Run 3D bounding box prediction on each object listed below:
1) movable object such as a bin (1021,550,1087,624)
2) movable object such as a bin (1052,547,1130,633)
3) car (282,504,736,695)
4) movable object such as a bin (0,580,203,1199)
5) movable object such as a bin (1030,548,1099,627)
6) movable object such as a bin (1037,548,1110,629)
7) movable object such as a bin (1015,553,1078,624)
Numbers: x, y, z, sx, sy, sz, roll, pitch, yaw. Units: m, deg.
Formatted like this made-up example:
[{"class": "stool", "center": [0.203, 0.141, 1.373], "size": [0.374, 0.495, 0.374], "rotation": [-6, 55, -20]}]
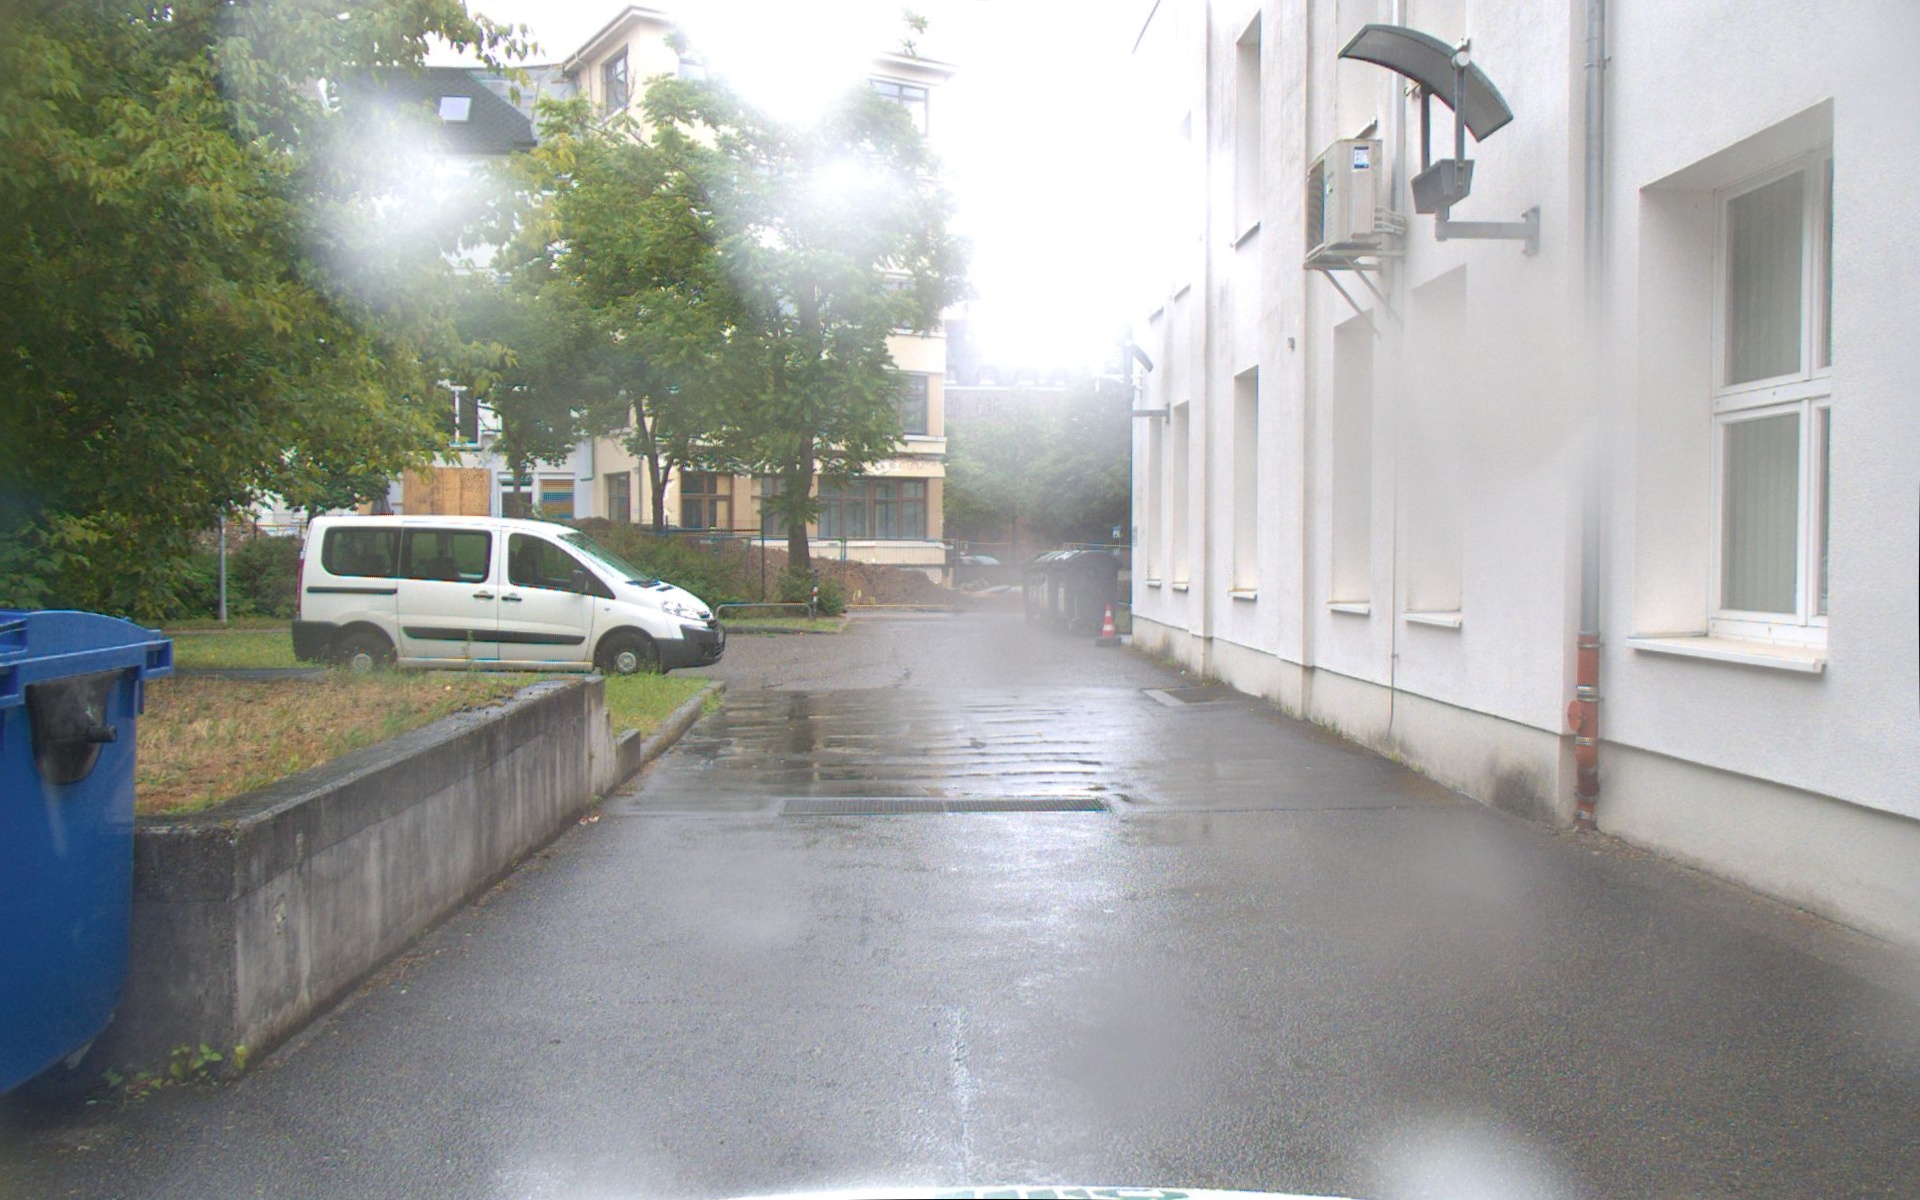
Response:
[{"class": "movable object such as a bin", "center": [1.905, -0.251, 33.608], "size": [1.191, 1.462, 1.258], "rotation": [0, -1, -4]}, {"class": "movable object such as a bin", "center": [2.279, -0.166, 28.922], "size": [1.191, 1.462, 1.235], "rotation": [0, -1, -4]}, {"class": "car", "center": [-5.079, -0.047, 19.188], "size": [4.683, 2.048, 2.000], "rotation": [-1, 2, -2]}, {"class": "movable object such as a bin", "center": [-2.651, 0.645, 3.978], "size": [1.197, 1.360, 1.006], "rotation": [0, 2, -2]}, {"class": "movable object such as a bin", "center": [2.024, -0.229, 32.236], "size": [1.191, 1.494, 1.235], "rotation": [0, -1, -4]}, {"class": "movable object such as a bin", "center": [2.088, -0.202, 30.608], "size": [1.191, 1.462, 1.293], "rotation": [0, -1, -4]}, {"class": "movable object such as a bin", "center": [1.824, -0.238, 34.984], "size": [1.191, 1.462, 1.258], "rotation": [0, -1, -4]}]
